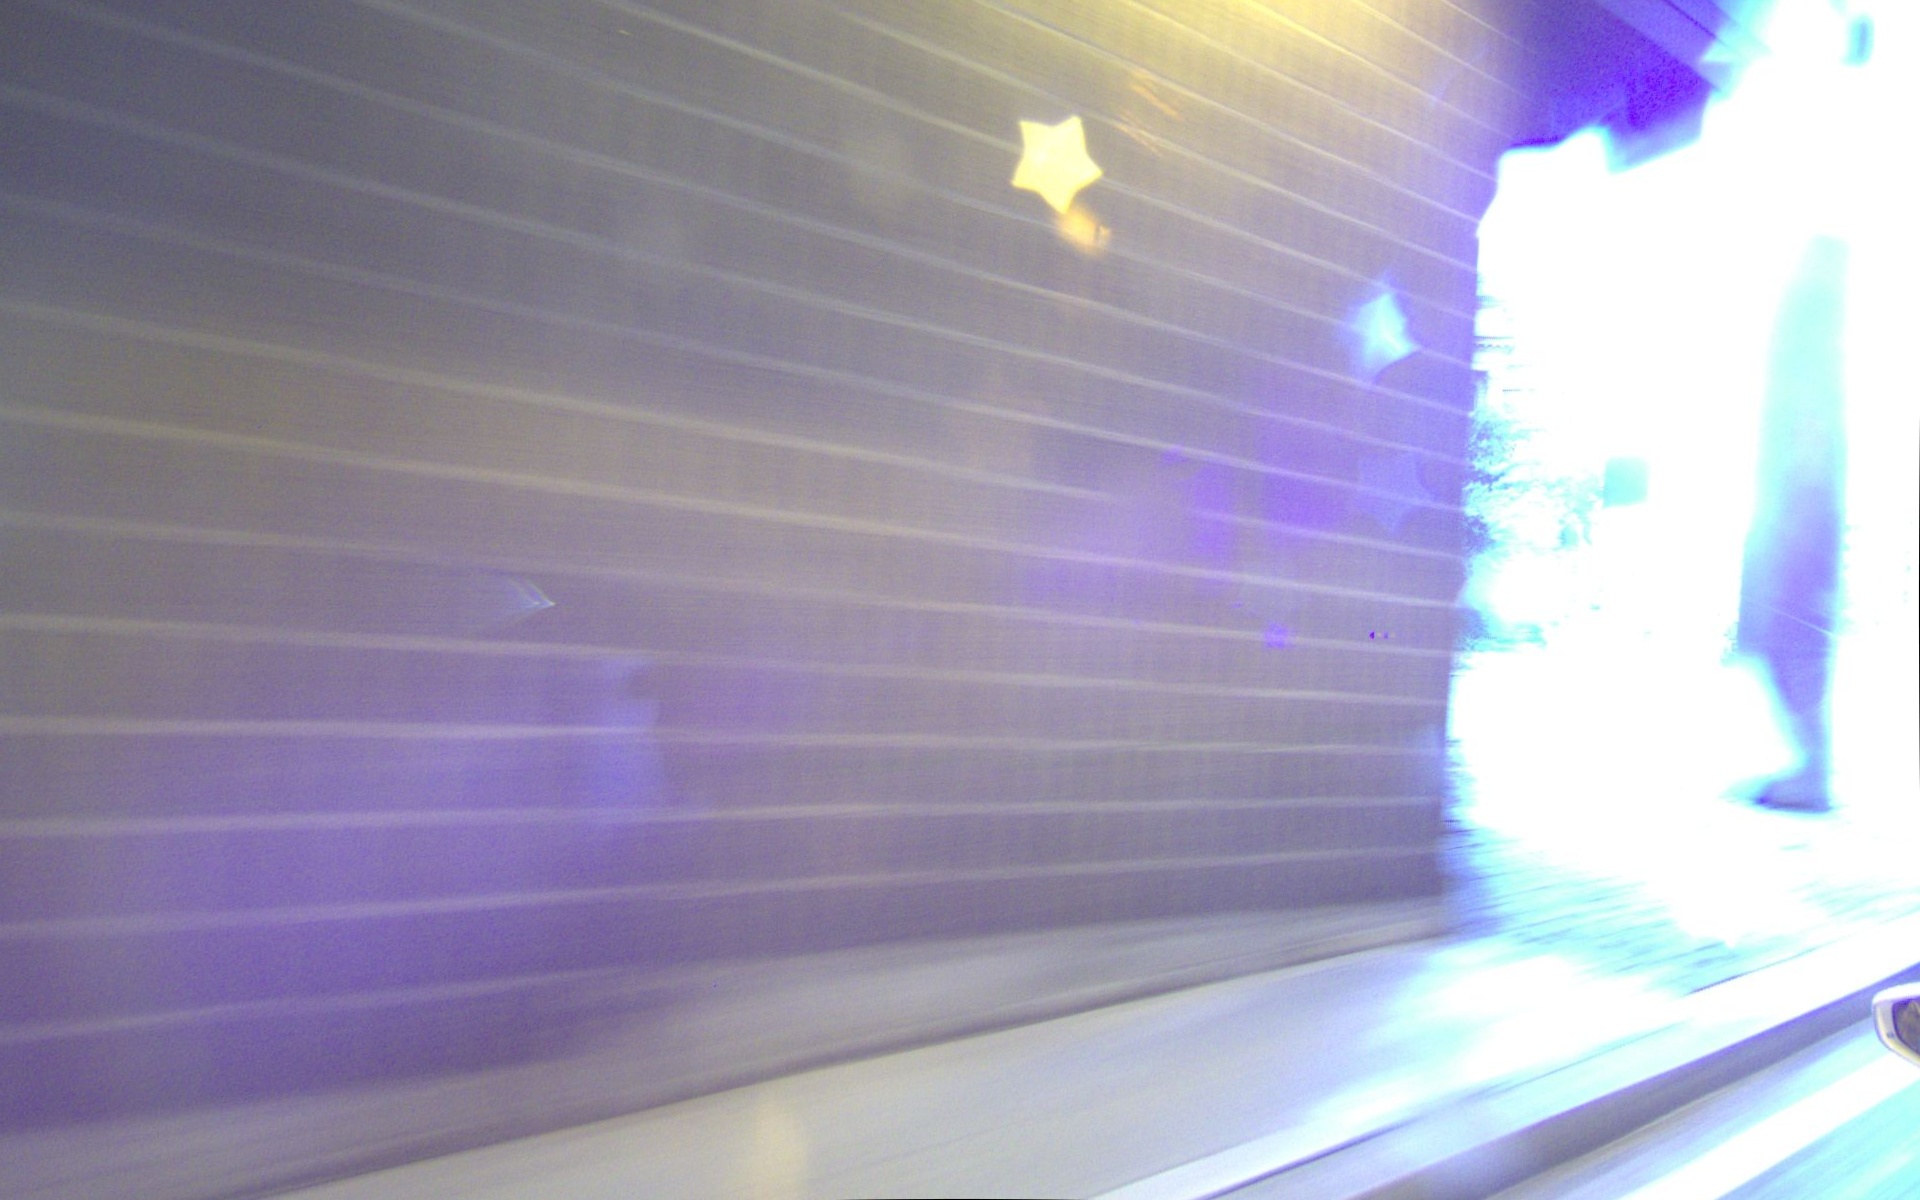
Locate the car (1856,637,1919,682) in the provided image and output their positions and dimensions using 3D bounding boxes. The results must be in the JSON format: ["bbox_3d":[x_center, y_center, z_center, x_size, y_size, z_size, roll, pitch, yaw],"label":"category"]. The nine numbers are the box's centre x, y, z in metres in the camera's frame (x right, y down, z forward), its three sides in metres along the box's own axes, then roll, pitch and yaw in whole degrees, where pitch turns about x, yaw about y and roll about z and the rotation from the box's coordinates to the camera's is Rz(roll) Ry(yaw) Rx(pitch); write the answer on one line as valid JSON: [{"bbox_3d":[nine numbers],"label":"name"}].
[{"bbox_3d":[37.433,2.348,40.401,1.822,1.609,4.371,0,-1,38],"label":"car"}]

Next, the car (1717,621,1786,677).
[{"bbox_3d":[29.942,1.785,38.107,1.813,1.947,4.626,1,-1,36],"label":"car"}]
